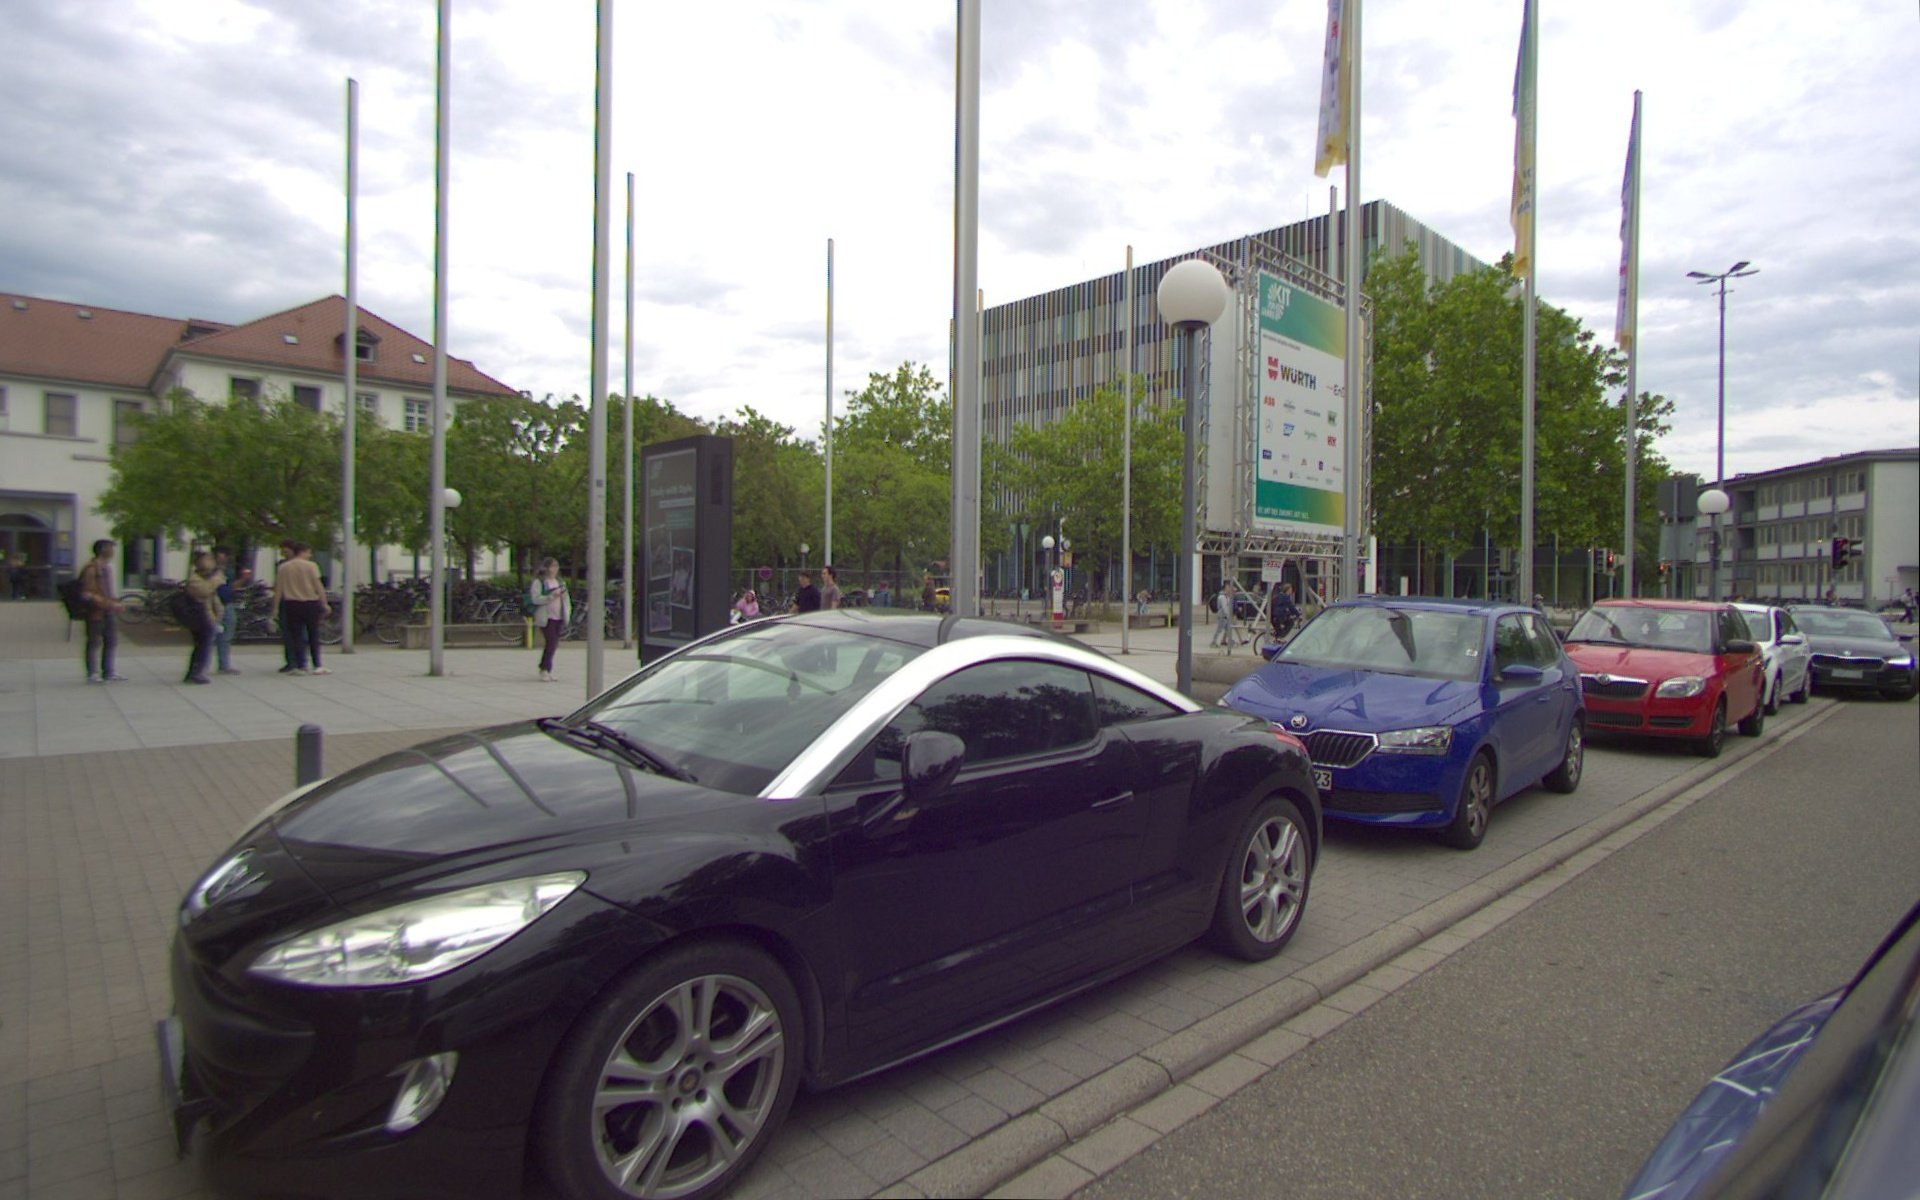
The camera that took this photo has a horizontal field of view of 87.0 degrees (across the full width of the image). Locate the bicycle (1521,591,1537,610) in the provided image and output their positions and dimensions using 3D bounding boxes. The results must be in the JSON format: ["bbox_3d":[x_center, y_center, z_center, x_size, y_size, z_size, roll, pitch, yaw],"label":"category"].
[{"bbox_3d":[34.421,0.032,61.214,0.477,1.058,1.774,0,1,18],"label":"bicycle"}]

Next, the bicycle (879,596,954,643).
[{"bbox_3d":[-1.151,0.539,27.291,0.455,1.185,2.376,-1,-3,42],"label":"bicycle"}]

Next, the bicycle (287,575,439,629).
[{"bbox_3d":[-14.343,0.080,24.412,3.053,1.185,0.746,3,-3,-42],"label":"bicycle"}]

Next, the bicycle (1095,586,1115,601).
[{"bbox_3d":[12.504,-0.562,87.383,0.627,1.275,2.070,1,1,45],"label":"bicycle"}]

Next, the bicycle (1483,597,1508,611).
[{"bbox_3d":[36.228,0.267,68.523,0.538,0.948,2.011,1,1,-4],"label":"bicycle"}]

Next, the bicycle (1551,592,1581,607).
[{"bbox_3d":[40.800,-0.028,68.182,0.474,0.947,2.014,0,2,-12],"label":"bicycle"}]

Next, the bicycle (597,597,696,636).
[{"bbox_3d":[-10.294,0.556,33.340,3.053,1.185,0.746,3,-3,-42],"label":"bicycle"}]

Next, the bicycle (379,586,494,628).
[{"bbox_3d":[-16.334,0.247,31.666,3.054,1.185,0.746,3,-3,-43],"label":"bicycle"}]

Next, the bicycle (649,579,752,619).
[{"bbox_3d":[-7.913,-0.044,30.982,3.054,1.185,0.746,0,1,-42],"label":"bicycle"}]

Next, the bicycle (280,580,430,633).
[{"bbox_3d":[-14.879,0.196,24.983,3.053,1.185,0.746,3,-3,-42],"label":"bicycle"}]

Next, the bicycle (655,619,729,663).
[{"bbox_3d":[-6.901,1.032,26.140,0.455,1.062,1.906,2,1,42],"label":"bicycle"}]

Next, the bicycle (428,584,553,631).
[{"bbox_3d":[-13.026,0.236,28.192,3.053,1.185,0.746,3,-3,-42],"label":"bicycle"}]

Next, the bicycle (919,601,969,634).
[{"bbox_3d":[-0.514,0.566,33.097,0.455,1.062,1.906,2,1,42],"label":"bicycle"}]

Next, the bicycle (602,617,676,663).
[{"bbox_3d":[-8.012,0.979,25.314,0.454,1.062,1.913,2,1,32],"label":"bicycle"}]

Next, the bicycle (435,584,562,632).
[{"bbox_3d":[-12.529,0.231,27.587,3.053,1.185,0.746,3,-3,-42],"label":"bicycle"}]

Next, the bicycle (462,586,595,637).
[{"bbox_3d":[-10.955,0.323,25.804,3.053,1.185,0.621,3,-3,-42],"label":"bicycle"}]

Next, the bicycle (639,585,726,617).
[{"bbox_3d":[-11.456,0.067,41.890,3.331,1.185,1.055,3,-2,-38],"label":"bicycle"}]

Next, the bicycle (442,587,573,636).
[{"bbox_3d":[-11.966,0.326,26.855,3.053,1.185,0.746,3,-3,-42],"label":"bicycle"}]

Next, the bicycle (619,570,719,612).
[{"bbox_3d":[-9.366,-0.264,32.659,3.053,1.185,0.746,3,-3,-42],"label":"bicycle"}]

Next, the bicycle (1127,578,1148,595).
[{"bbox_3d":[14.961,-1.118,85.302,0.627,1.275,2.070,-1,-3,45],"label":"bicycle"}]

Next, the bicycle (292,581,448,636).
[{"bbox_3d":[-13.830,0.223,23.810,3.053,1.185,0.746,3,-3,-42],"label":"bicycle"}]

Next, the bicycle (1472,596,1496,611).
[{"bbox_3d":[35.502,0.249,68.552,0.474,0.948,2.011,1,1,-4],"label":"bicycle"}]

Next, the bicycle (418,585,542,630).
[{"bbox_3d":[-13.575,0.236,28.729,3.053,1.185,0.746,3,-3,-42],"label":"bicycle"}]

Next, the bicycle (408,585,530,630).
[{"bbox_3d":[-14.145,0.237,29.267,3.053,1.185,0.746,3,-3,-42],"label":"bicycle"}]

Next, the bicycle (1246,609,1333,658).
[{"bbox_3d":[7.904,0.799,24.313,1.766,1.107,0.876,1,0,-1],"label":"bicycle"}]

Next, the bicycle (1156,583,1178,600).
[{"bbox_3d":[17.021,-0.680,83.218,2.066,1.275,0.628,3,-3,-39],"label":"bicycle"}]

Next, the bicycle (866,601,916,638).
[{"bbox_3d":[-2.051,0.555,30.325,0.454,1.062,1.913,2,1,33],"label":"bicycle"}]

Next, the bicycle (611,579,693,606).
[{"bbox_3d":[-13.583,-0.334,44.693,3.332,1.185,1.055,0,1,-38],"label":"bicycle"}]

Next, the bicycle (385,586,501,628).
[{"bbox_3d":[-15.829,0.243,31.073,3.054,1.185,0.746,3,-3,-43],"label":"bicycle"}]

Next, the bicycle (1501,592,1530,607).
[{"bbox_3d":[37.306,-0.040,67.997,0.474,0.947,2.014,0,2,-12],"label":"bicycle"}]

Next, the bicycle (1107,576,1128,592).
[{"bbox_3d":[13.516,-1.389,86.844,0.627,1.275,2.070,-1,-3,45],"label":"bicycle"}]

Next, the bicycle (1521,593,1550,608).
[{"bbox_3d":[38.628,-0.006,67.955,0.474,0.947,2.014,0,2,-12],"label":"bicycle"}]

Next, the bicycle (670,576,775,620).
[{"bbox_3d":[-7.050,-0.032,30.199,3.053,1.185,0.746,3,-3,-42],"label":"bicycle"}]

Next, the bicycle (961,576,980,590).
[{"bbox_3d":[1.011,-1.688,99.558,0.627,1.275,2.070,-1,-3,45],"label":"bicycle"}]

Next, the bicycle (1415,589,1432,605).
[{"bbox_3d":[31.810,-0.192,69.476,0.476,1.058,1.913,0,1,7],"label":"bicycle"}]
